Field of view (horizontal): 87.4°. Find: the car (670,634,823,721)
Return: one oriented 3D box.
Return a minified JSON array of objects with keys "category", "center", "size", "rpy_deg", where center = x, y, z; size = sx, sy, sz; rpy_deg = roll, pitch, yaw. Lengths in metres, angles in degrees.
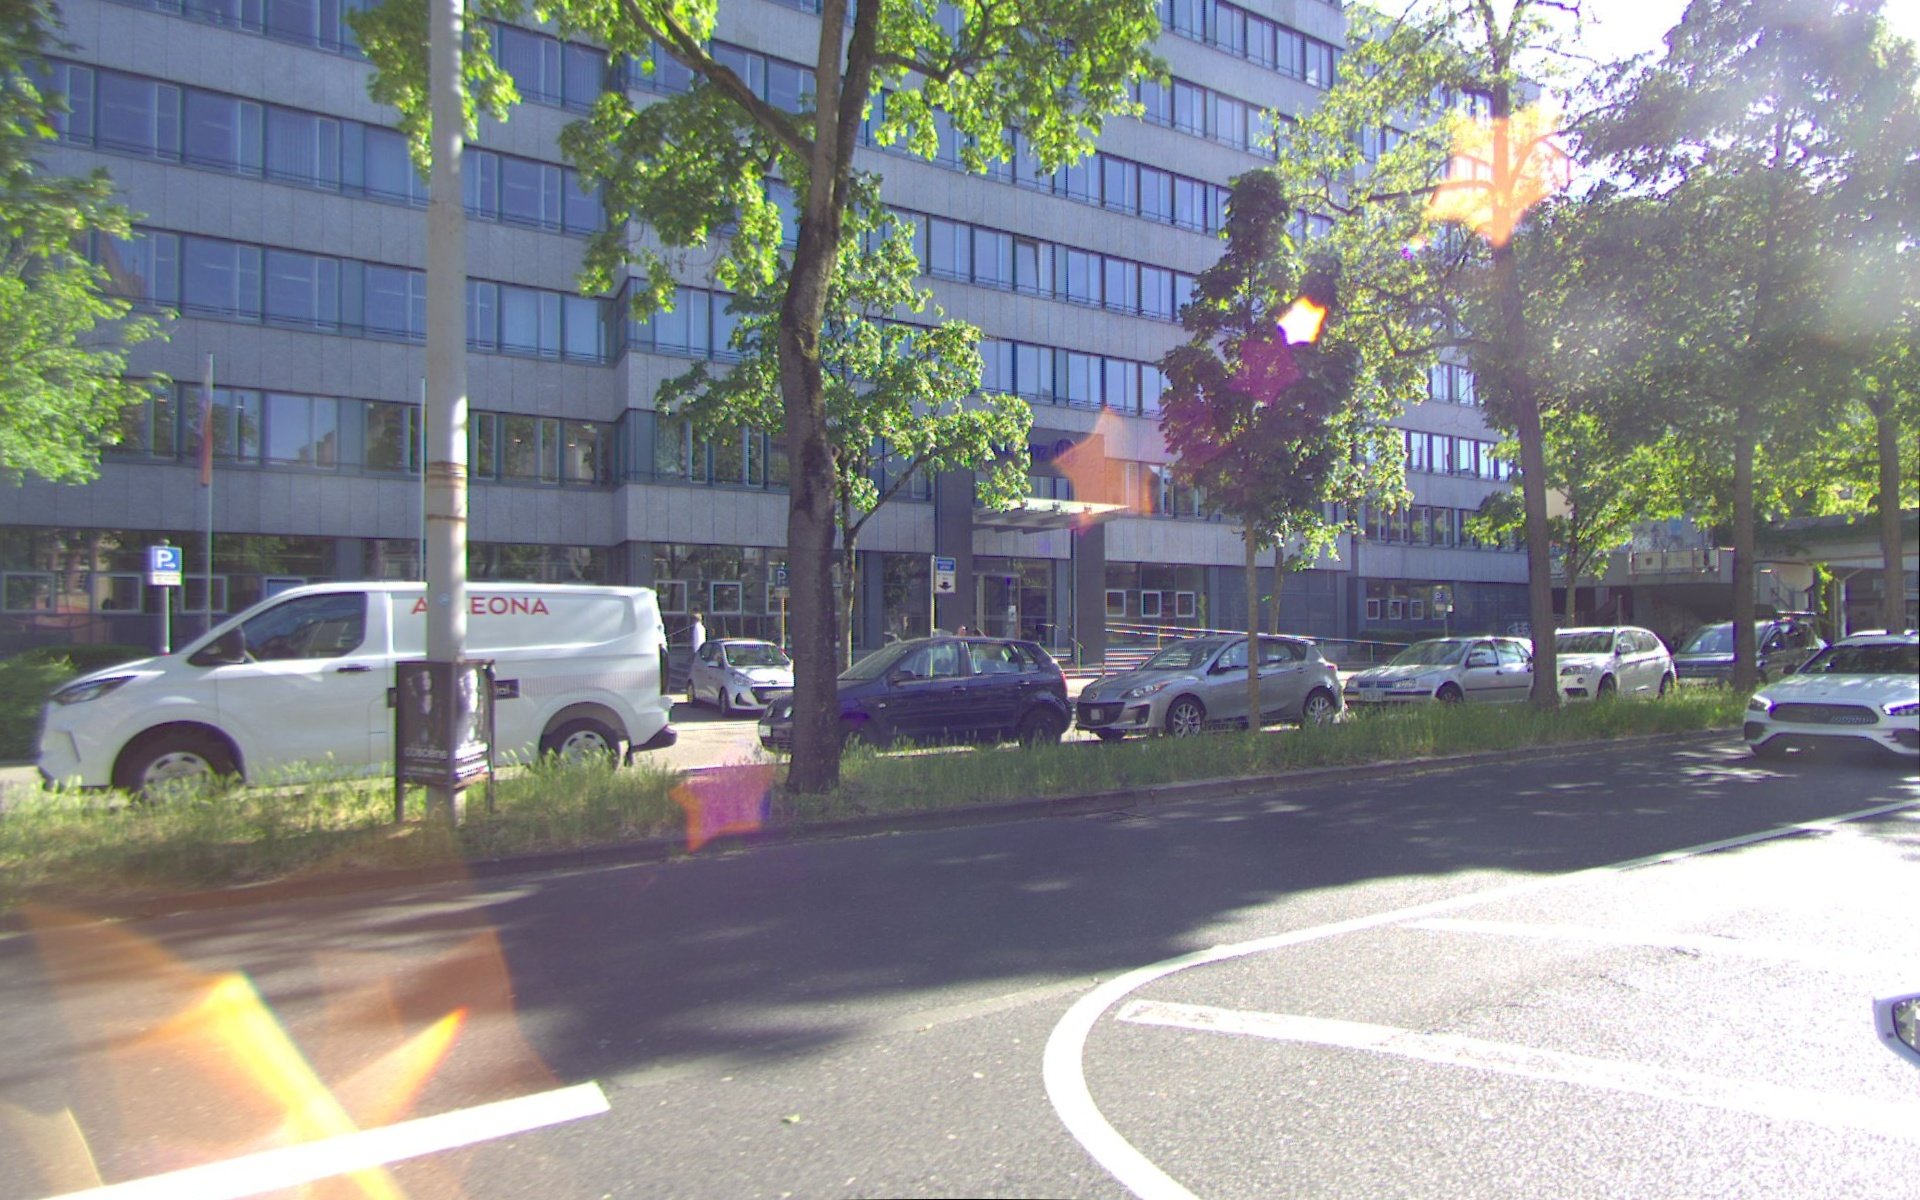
[{"category":"car","center":[-4.612,1.542,21.256],"size":[1.841,1.543,4.281],"rpy_deg":[1,-1,-32]}]

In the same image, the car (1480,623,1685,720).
[{"category":"car","center":[12.404,1.317,19.926],"size":[4.619,1.706,1.843],"rpy_deg":[1,-1,-36]}]

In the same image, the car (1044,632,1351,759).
[{"category":"car","center":[3.489,1.262,14.564],"size":[4.268,1.543,1.847],"rpy_deg":[1,-1,-30]}]

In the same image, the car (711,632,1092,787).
[{"category":"car","center":[-0.665,1.178,12.121],"size":[4.264,1.543,1.774],"rpy_deg":[1,-1,-28]}]

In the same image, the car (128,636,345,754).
[{"category":"car","center":[-11.555,1.402,16.420],"size":[1.981,1.533,4.657],"rpy_deg":[0,-1,-25]}]

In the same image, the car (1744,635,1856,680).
[{"category":"car","center":[30.833,2.089,36.858],"size":[4.269,1.543,1.847],"rpy_deg":[1,-3,-31]}]

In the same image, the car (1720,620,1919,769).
[{"category":"car","center":[11.790,1.080,12.690],"size":[4.660,1.588,1.847],"rpy_deg":[1,-3,-31]}]

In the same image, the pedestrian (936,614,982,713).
[{"category":"pedestrian","center":[-0.022,1.369,21.999],"size":[0.761,2.121,0.789],"rpy_deg":[1,0,-18]}]

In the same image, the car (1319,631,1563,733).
[{"category":"car","center":[8.356,1.327,17.423],"size":[4.013,1.543,1.848],"rpy_deg":[1,-1,-29]}]

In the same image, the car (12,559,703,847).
[{"category":"car","center":[-5.280,0.842,9.595],"size":[5.140,2.103,1.971],"rpy_deg":[1,-4,-33]}]

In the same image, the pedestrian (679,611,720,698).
[{"category":"pedestrian","center":[-6.483,1.345,25.005],"size":[0.782,2.121,0.768],"rpy_deg":[1,0,-28]}]

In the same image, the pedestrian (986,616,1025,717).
[{"category":"pedestrian","center":[0.991,1.405,21.560],"size":[0.776,2.121,0.774],"rpy_deg":[1,0,3]}]

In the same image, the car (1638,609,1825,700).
[{"category":"car","center":[17.526,1.163,22.774],"size":[4.509,1.874,1.846],"rpy_deg":[1,-1,-31]}]

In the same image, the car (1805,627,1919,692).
[{"category":"car","center":[24.496,1.535,26.755],"size":[3.825,1.589,1.847],"rpy_deg":[1,-1,-29]}]
